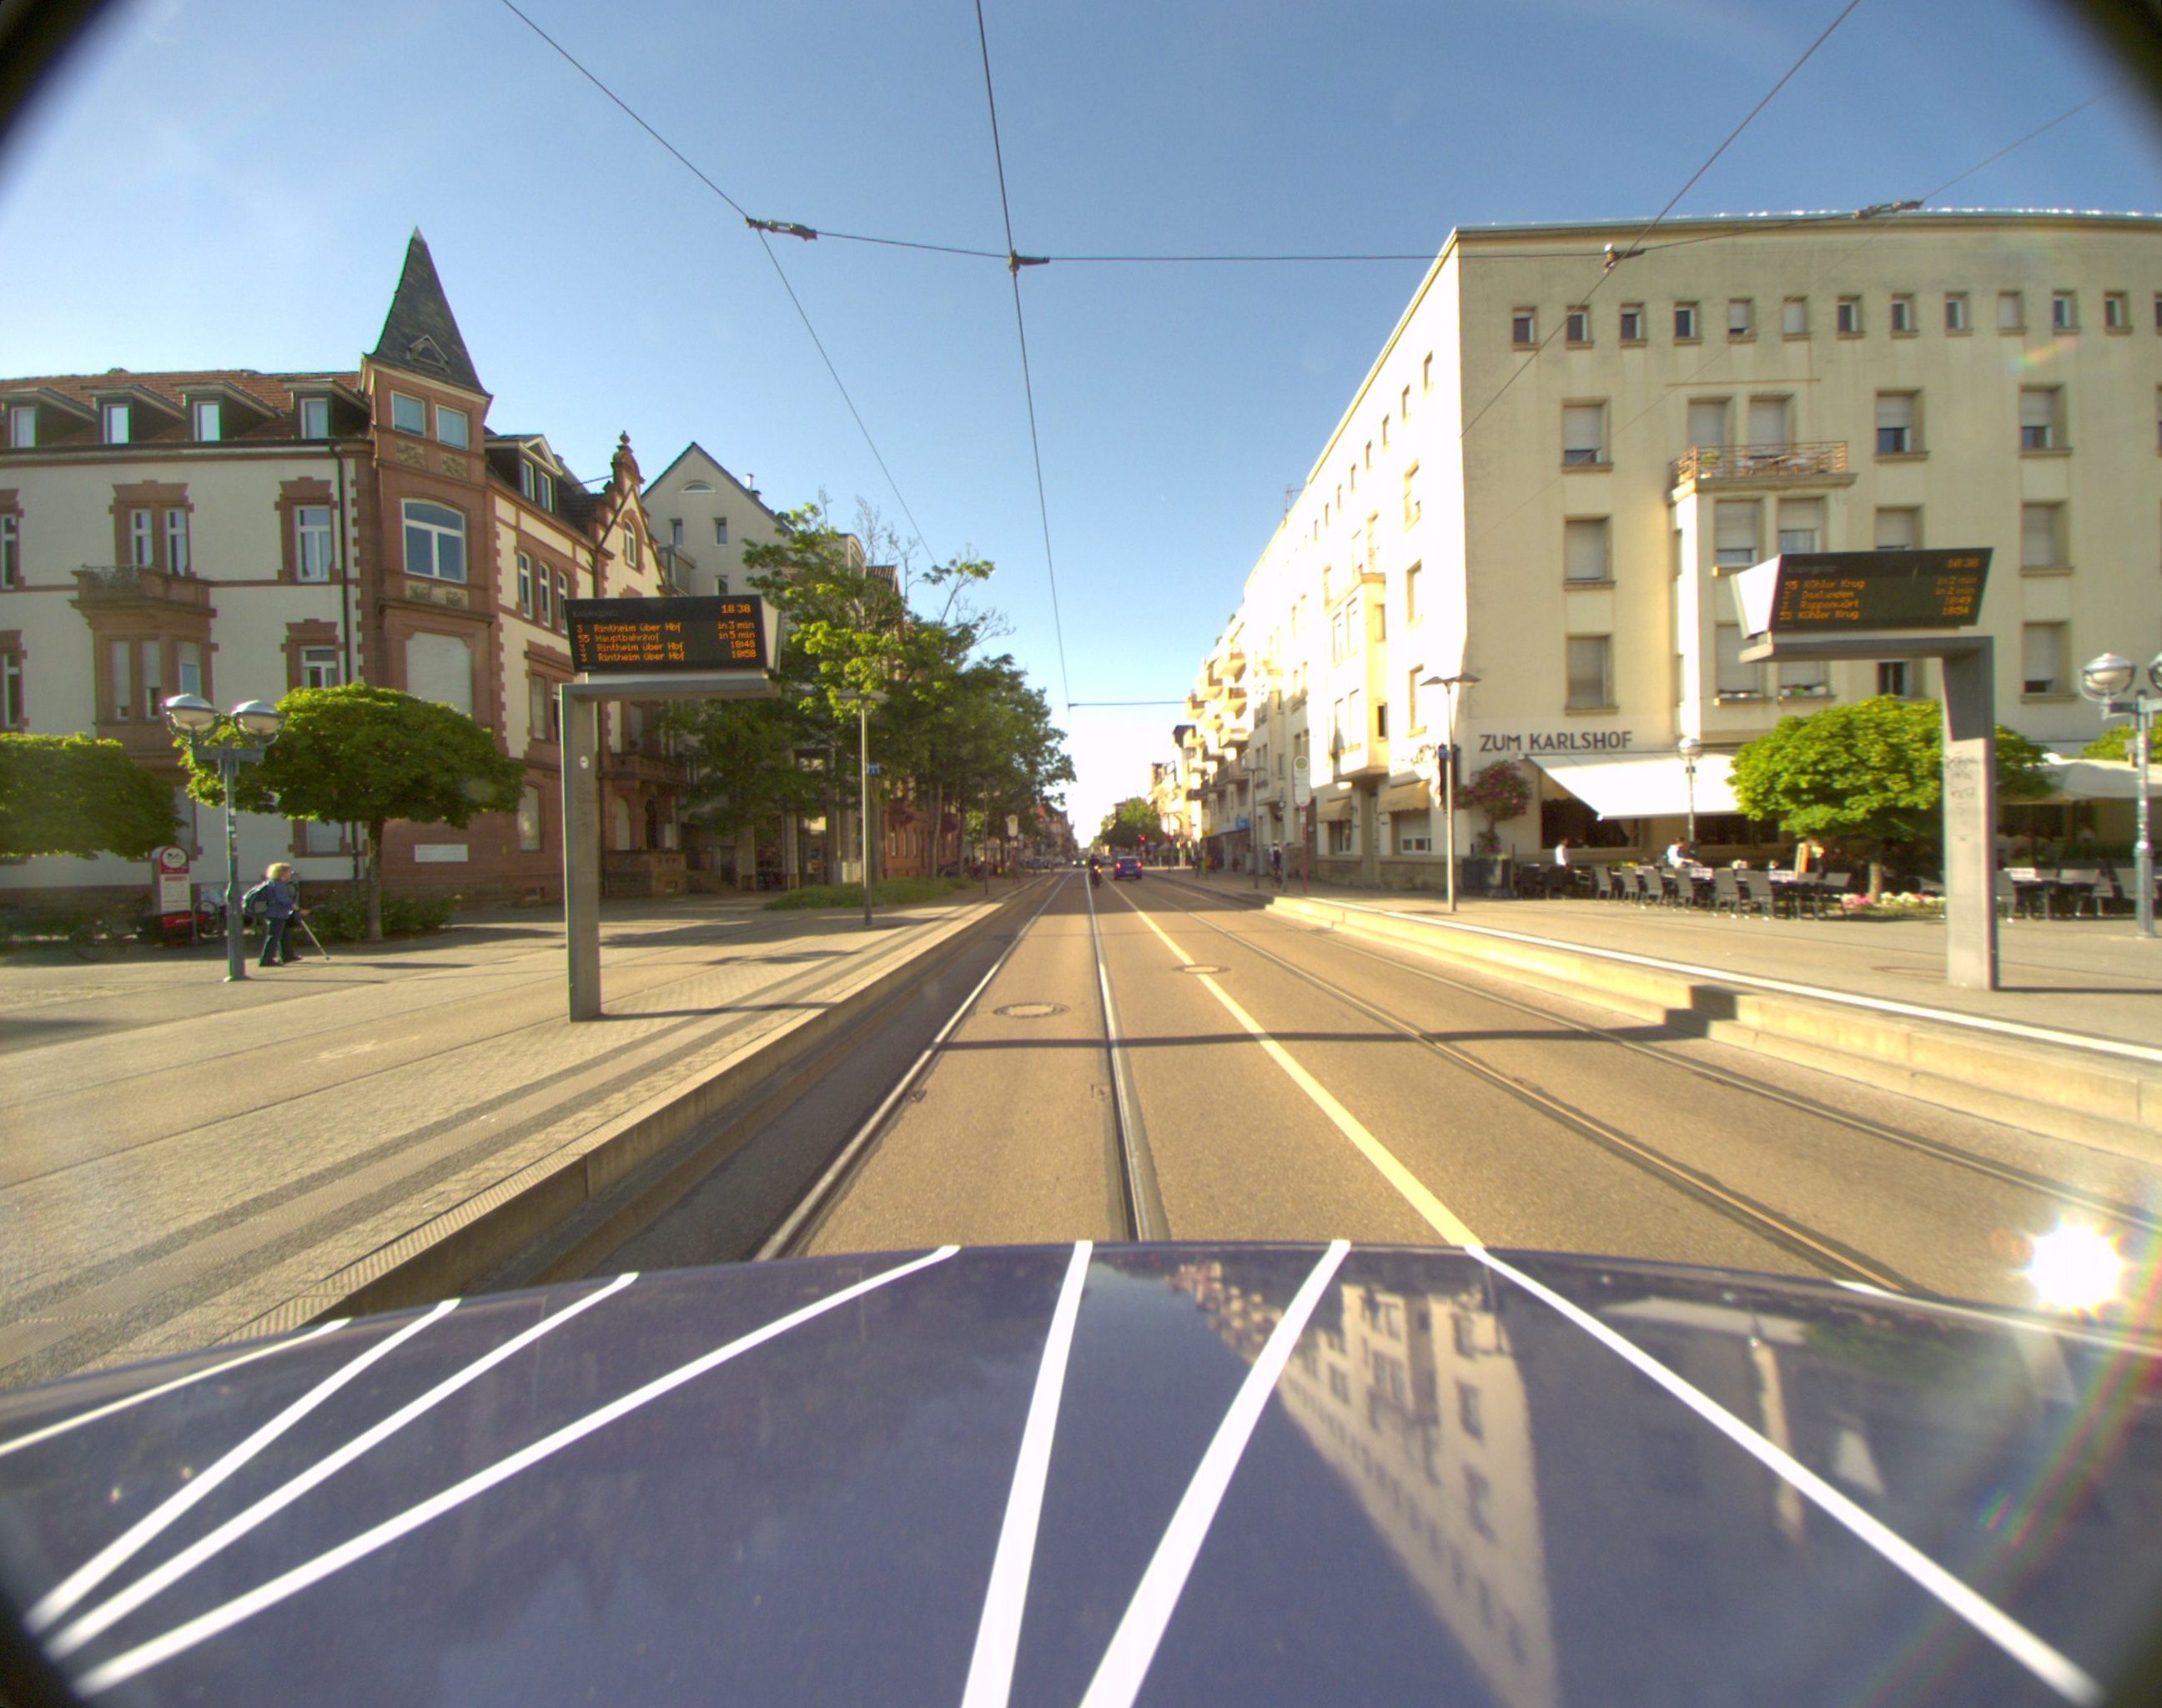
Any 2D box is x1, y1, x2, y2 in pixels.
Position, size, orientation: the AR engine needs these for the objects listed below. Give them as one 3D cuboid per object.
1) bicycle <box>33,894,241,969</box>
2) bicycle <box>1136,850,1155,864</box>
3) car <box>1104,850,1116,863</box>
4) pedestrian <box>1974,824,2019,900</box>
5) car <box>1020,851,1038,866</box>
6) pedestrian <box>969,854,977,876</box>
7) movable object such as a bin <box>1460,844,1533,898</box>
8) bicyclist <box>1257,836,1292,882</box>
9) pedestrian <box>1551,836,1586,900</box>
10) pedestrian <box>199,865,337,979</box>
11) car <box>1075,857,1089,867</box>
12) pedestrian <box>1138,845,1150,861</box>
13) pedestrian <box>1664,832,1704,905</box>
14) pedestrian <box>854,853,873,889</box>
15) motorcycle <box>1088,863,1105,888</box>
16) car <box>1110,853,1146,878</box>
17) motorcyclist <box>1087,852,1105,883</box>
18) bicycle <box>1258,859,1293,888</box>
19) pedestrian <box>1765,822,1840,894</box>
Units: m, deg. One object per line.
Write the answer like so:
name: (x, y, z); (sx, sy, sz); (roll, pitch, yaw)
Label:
bicycle: (-18.181, 1.442, 14.797); (0.790, 1.062, 2.804); (-2, 2, -8)
bicycle: (8.176, 0.325, 96.719); (1.225, 1.719, 3.113); (-1, 1, 29)
car: (4.855, 0.380, 125.987); (1.877, 2.105, 4.000); (-2, 1, 2)
pedestrian: (22.199, 0.191, 18.416); (0.578, 1.813, 0.647); (-2, 1, -36)
car: (-7.247, 0.625, 105.860); (1.998, 2.002, 4.001); (-1, 0, 4)
pedestrian: (-9.956, 1.025, 70.021); (0.653, 2.002, 0.559); (-1, 1, 3)
movable object such as a bin: (11.163, 0.450, 20.450); (1.319, 1.392, 1.128); (-1, 1, -1)
bicyclist: (7.811, 0.202, 30.743); (1.007, 1.783, 1.094); (-2, 1, -8)
pedestrian: (12.617, 0.376, 19.679); (0.672, 1.634, 0.752); (-1, -2, 27)
pedestrian: (-12.674, 1.027, 11.893); (1.070, 1.659, 0.956); (-2, 1, -12)
car: (0.142, 1.083, 107.739); (1.998, 1.318, 3.863); (-1, 0, 1)
pedestrian: (8.026, -0.127, 96.598); (1.174, 2.002, 1.024); (-1, 1, 31)
pedestrian: (13.969, 0.352, 17.608); (0.672, 1.634, 0.678); (-2, -3, 38)
pedestrian: (-10.727, 0.829, 37.472); (0.742, 1.725, 0.877); (-2, 1, -6)
motorcycle: (0.754, 1.022, 36.859); (0.799, 1.090, 2.429); (-1, 0, 1)
car: (2.928, 0.705, 48.158); (1.672, 1.479, 3.998); (-2, 0, -4)
motorcyclist: (0.741, 0.630, 36.858); (0.821, 1.466, 1.114); (-1, 1, 1)
bicycle: (7.856, 0.762, 30.839); (0.714, 1.119, 2.035); (-1, 0, -5)
pedestrian: (17.002, 0.089, 17.927); (1.066, 1.635, 0.756); (-1, 1, -4)
